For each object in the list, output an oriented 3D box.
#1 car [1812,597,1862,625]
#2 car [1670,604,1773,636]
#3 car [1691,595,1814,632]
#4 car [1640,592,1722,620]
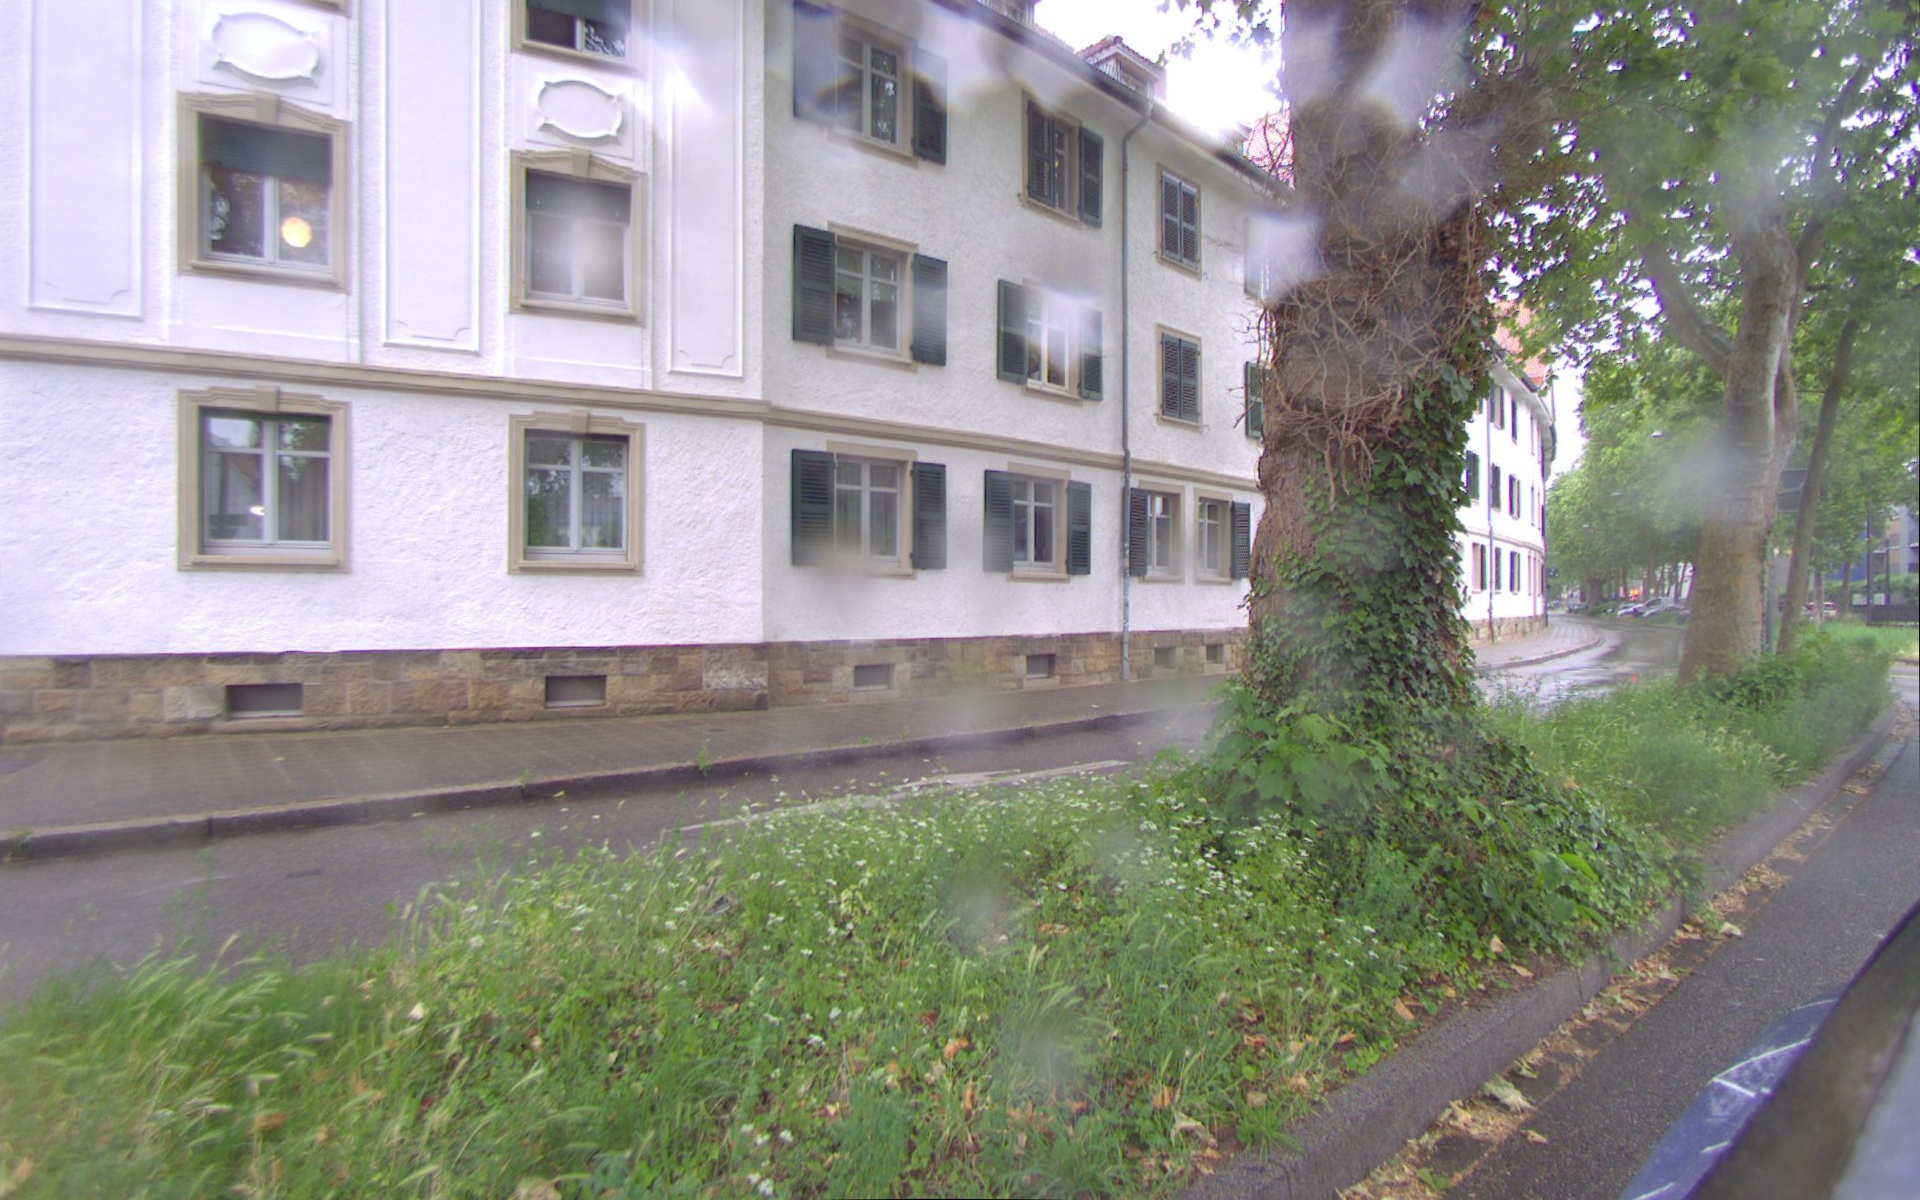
[{"bbox_3d":[57.750,0.711,66.688,1.677,1.745,3.656,2,1,28],"label":"car"},{"bbox_3d":[43.496,1.117,57.893,1.715,1.632,4.335,1,1,-35],"label":"car"},{"bbox_3d":[37.850,0.606,48.433,1.892,1.560,4.236,0,1,-30],"label":"car"},{"bbox_3d":[56.651,0.447,79.609,1.960,2.039,4.899,1,1,-30],"label":"car"}]
